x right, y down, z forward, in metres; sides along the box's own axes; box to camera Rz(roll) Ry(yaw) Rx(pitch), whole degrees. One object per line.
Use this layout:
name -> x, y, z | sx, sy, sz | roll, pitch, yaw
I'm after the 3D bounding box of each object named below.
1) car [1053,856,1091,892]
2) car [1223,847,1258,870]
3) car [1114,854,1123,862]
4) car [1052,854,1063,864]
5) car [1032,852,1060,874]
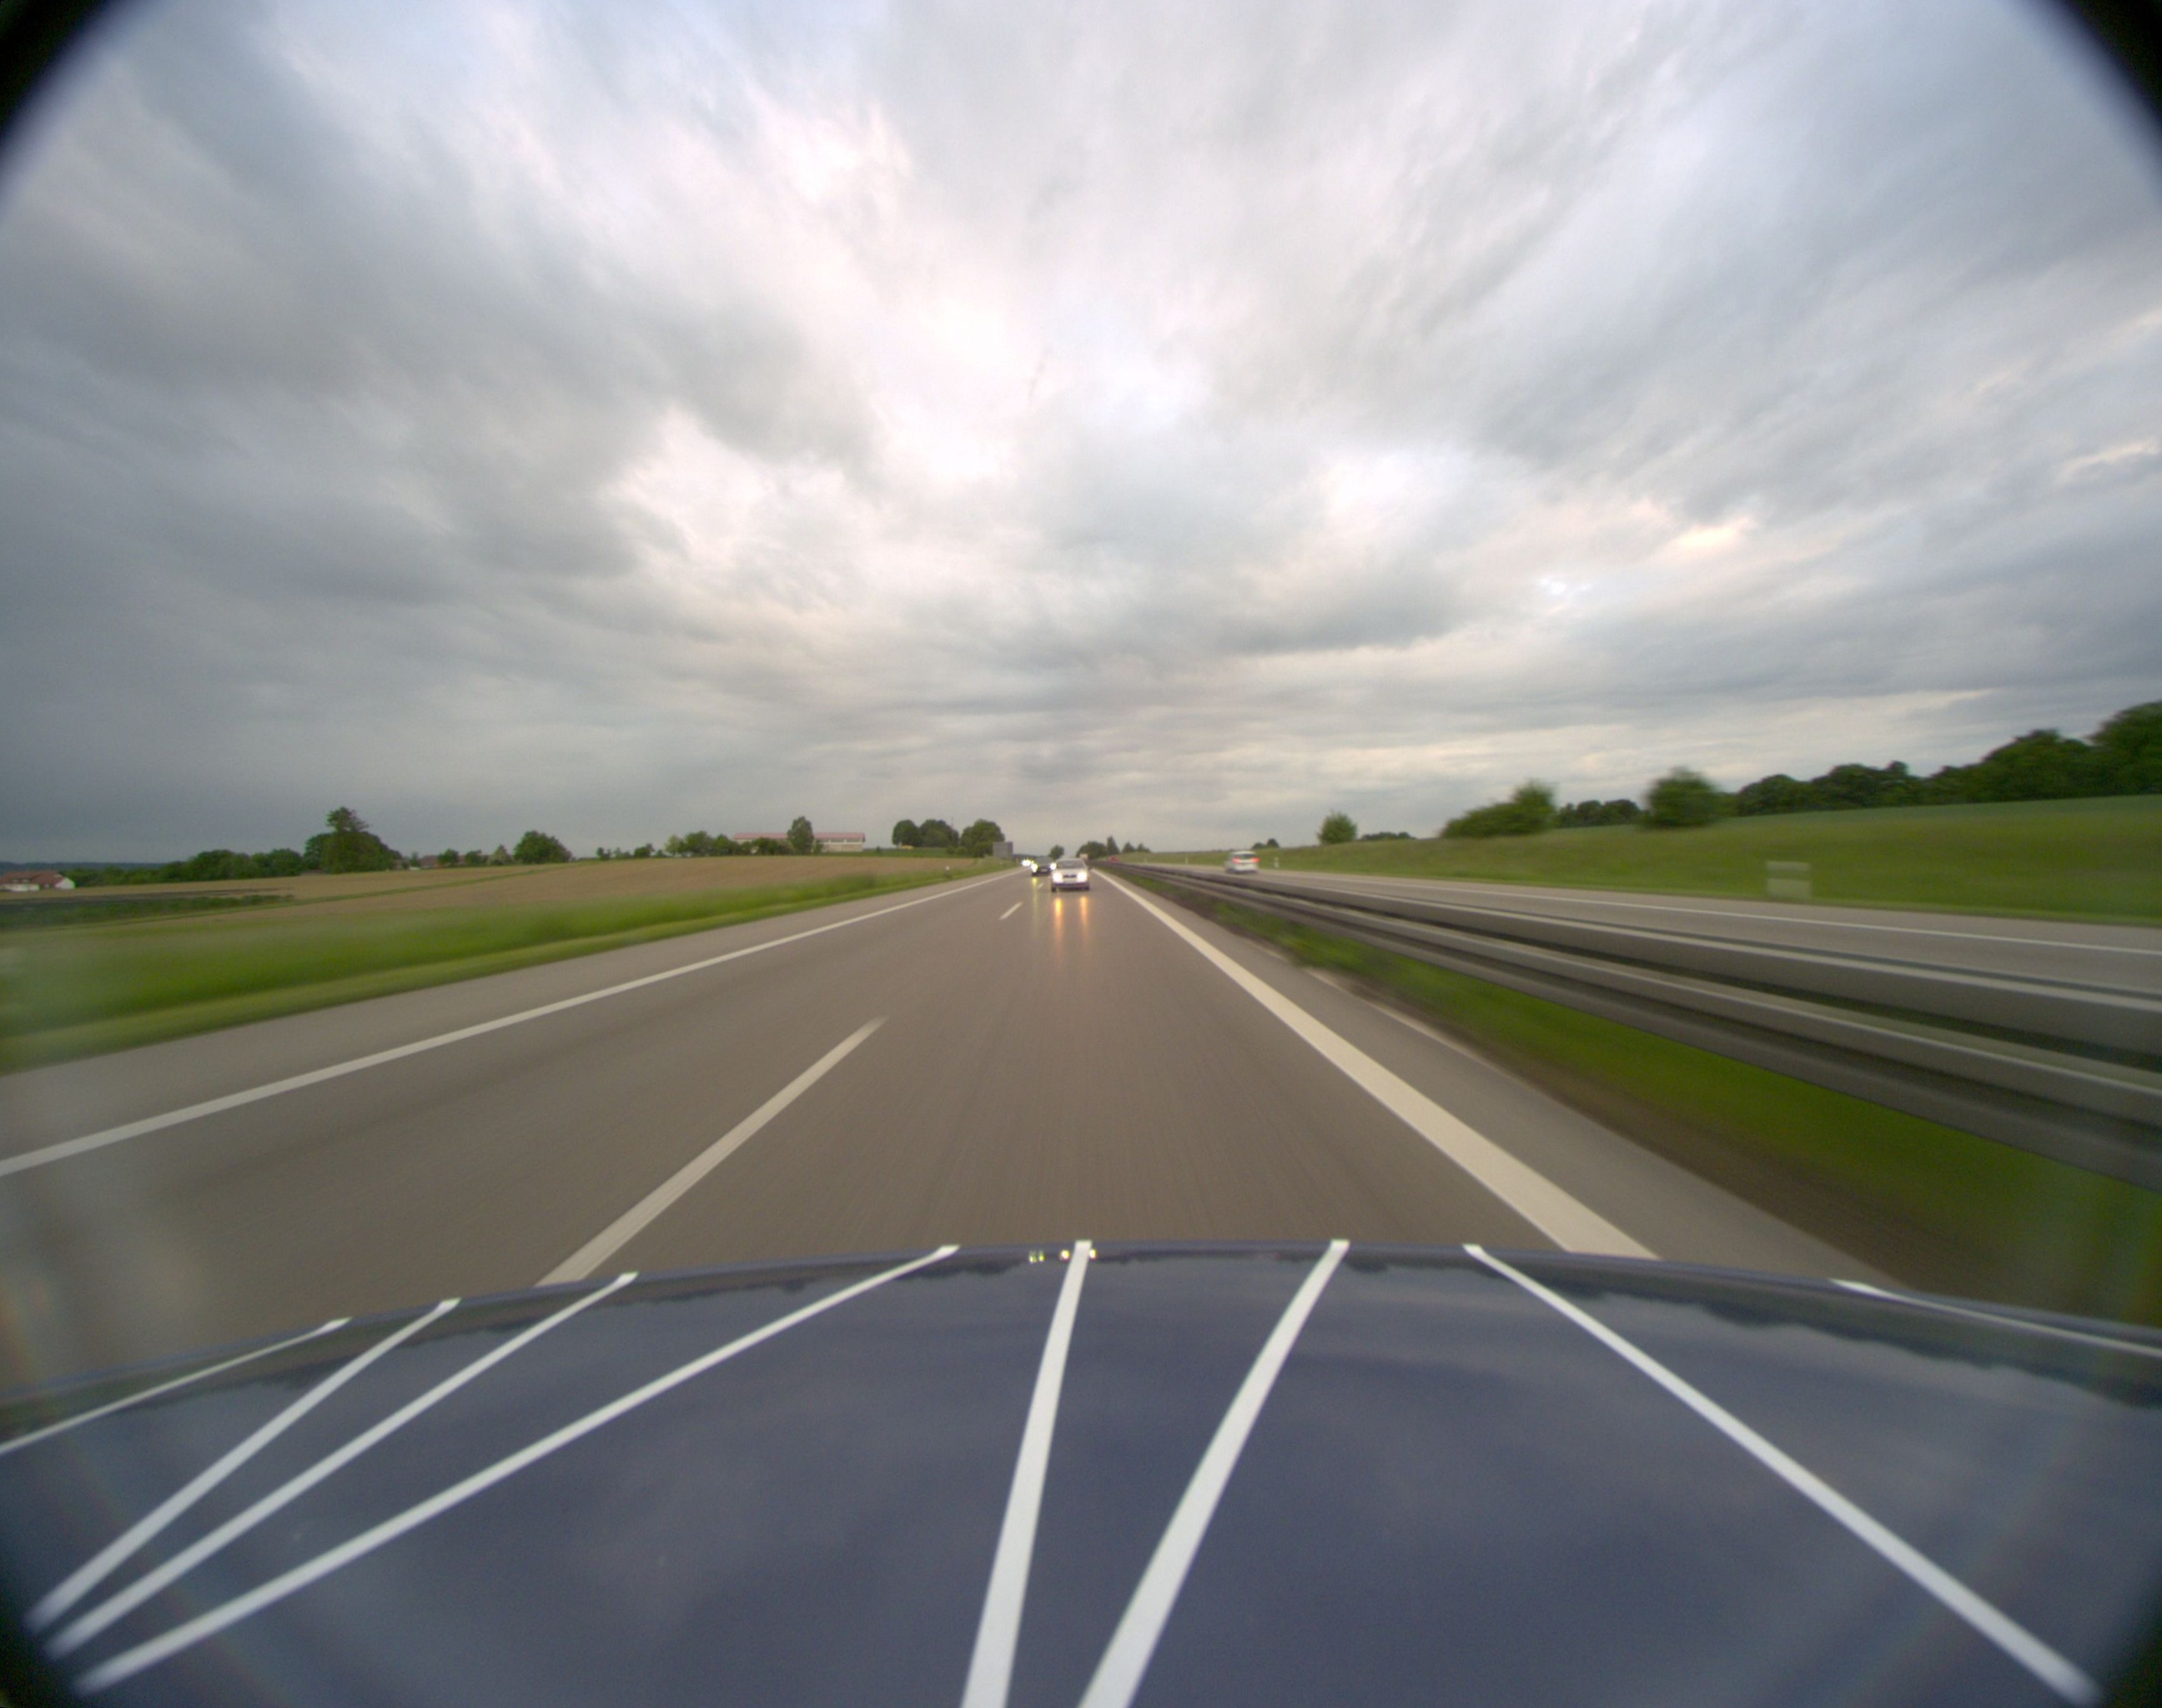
car -> -0.374, 0.817, 33.641 | 1.592, 1.381, 4.600 | 0, 1, 0
car -> 12.873, 0.325, 61.479 | 1.765, 1.791, 4.994 | -1, 0, 0
car -> 9.029, 0.959, 183.617 | 1.702, 1.654, 4.462 | -3, 0, -3
car -> -4.249, 0.918, 138.270 | 1.807, 1.619, 3.902 | -1, 1, -4
car -> -2.801, 0.662, 61.085 | 1.951, 1.620, 4.535 | -1, 1, 0
